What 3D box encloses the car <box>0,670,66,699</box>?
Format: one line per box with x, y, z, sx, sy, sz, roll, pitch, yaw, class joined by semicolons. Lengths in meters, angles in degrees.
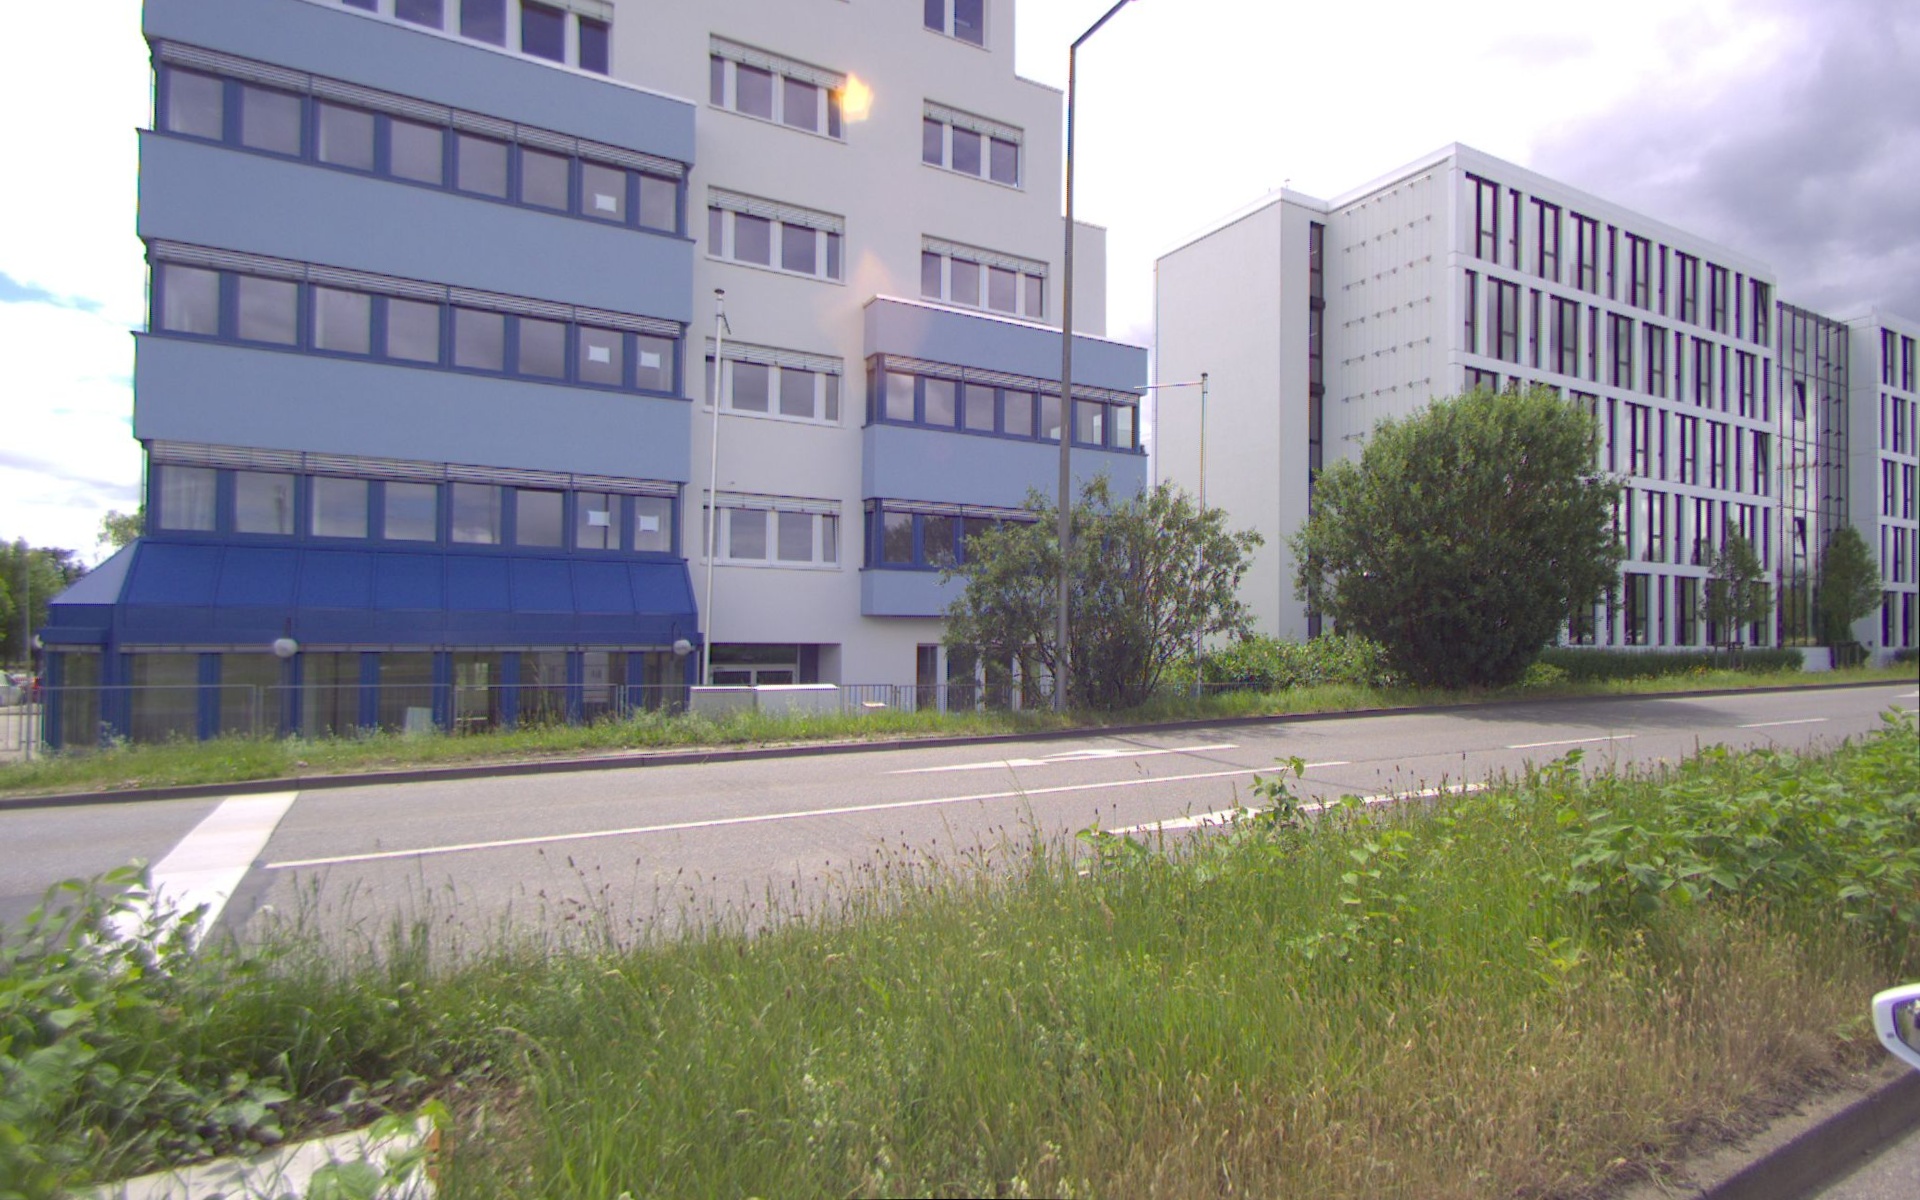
-45.785;4.127;49.257;1.975;1.347;3.630;1;-5;-27;car

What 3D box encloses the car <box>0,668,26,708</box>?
-42.880;3.874;43.942;1.975;1.714;3.630;1;-5;-27;car
